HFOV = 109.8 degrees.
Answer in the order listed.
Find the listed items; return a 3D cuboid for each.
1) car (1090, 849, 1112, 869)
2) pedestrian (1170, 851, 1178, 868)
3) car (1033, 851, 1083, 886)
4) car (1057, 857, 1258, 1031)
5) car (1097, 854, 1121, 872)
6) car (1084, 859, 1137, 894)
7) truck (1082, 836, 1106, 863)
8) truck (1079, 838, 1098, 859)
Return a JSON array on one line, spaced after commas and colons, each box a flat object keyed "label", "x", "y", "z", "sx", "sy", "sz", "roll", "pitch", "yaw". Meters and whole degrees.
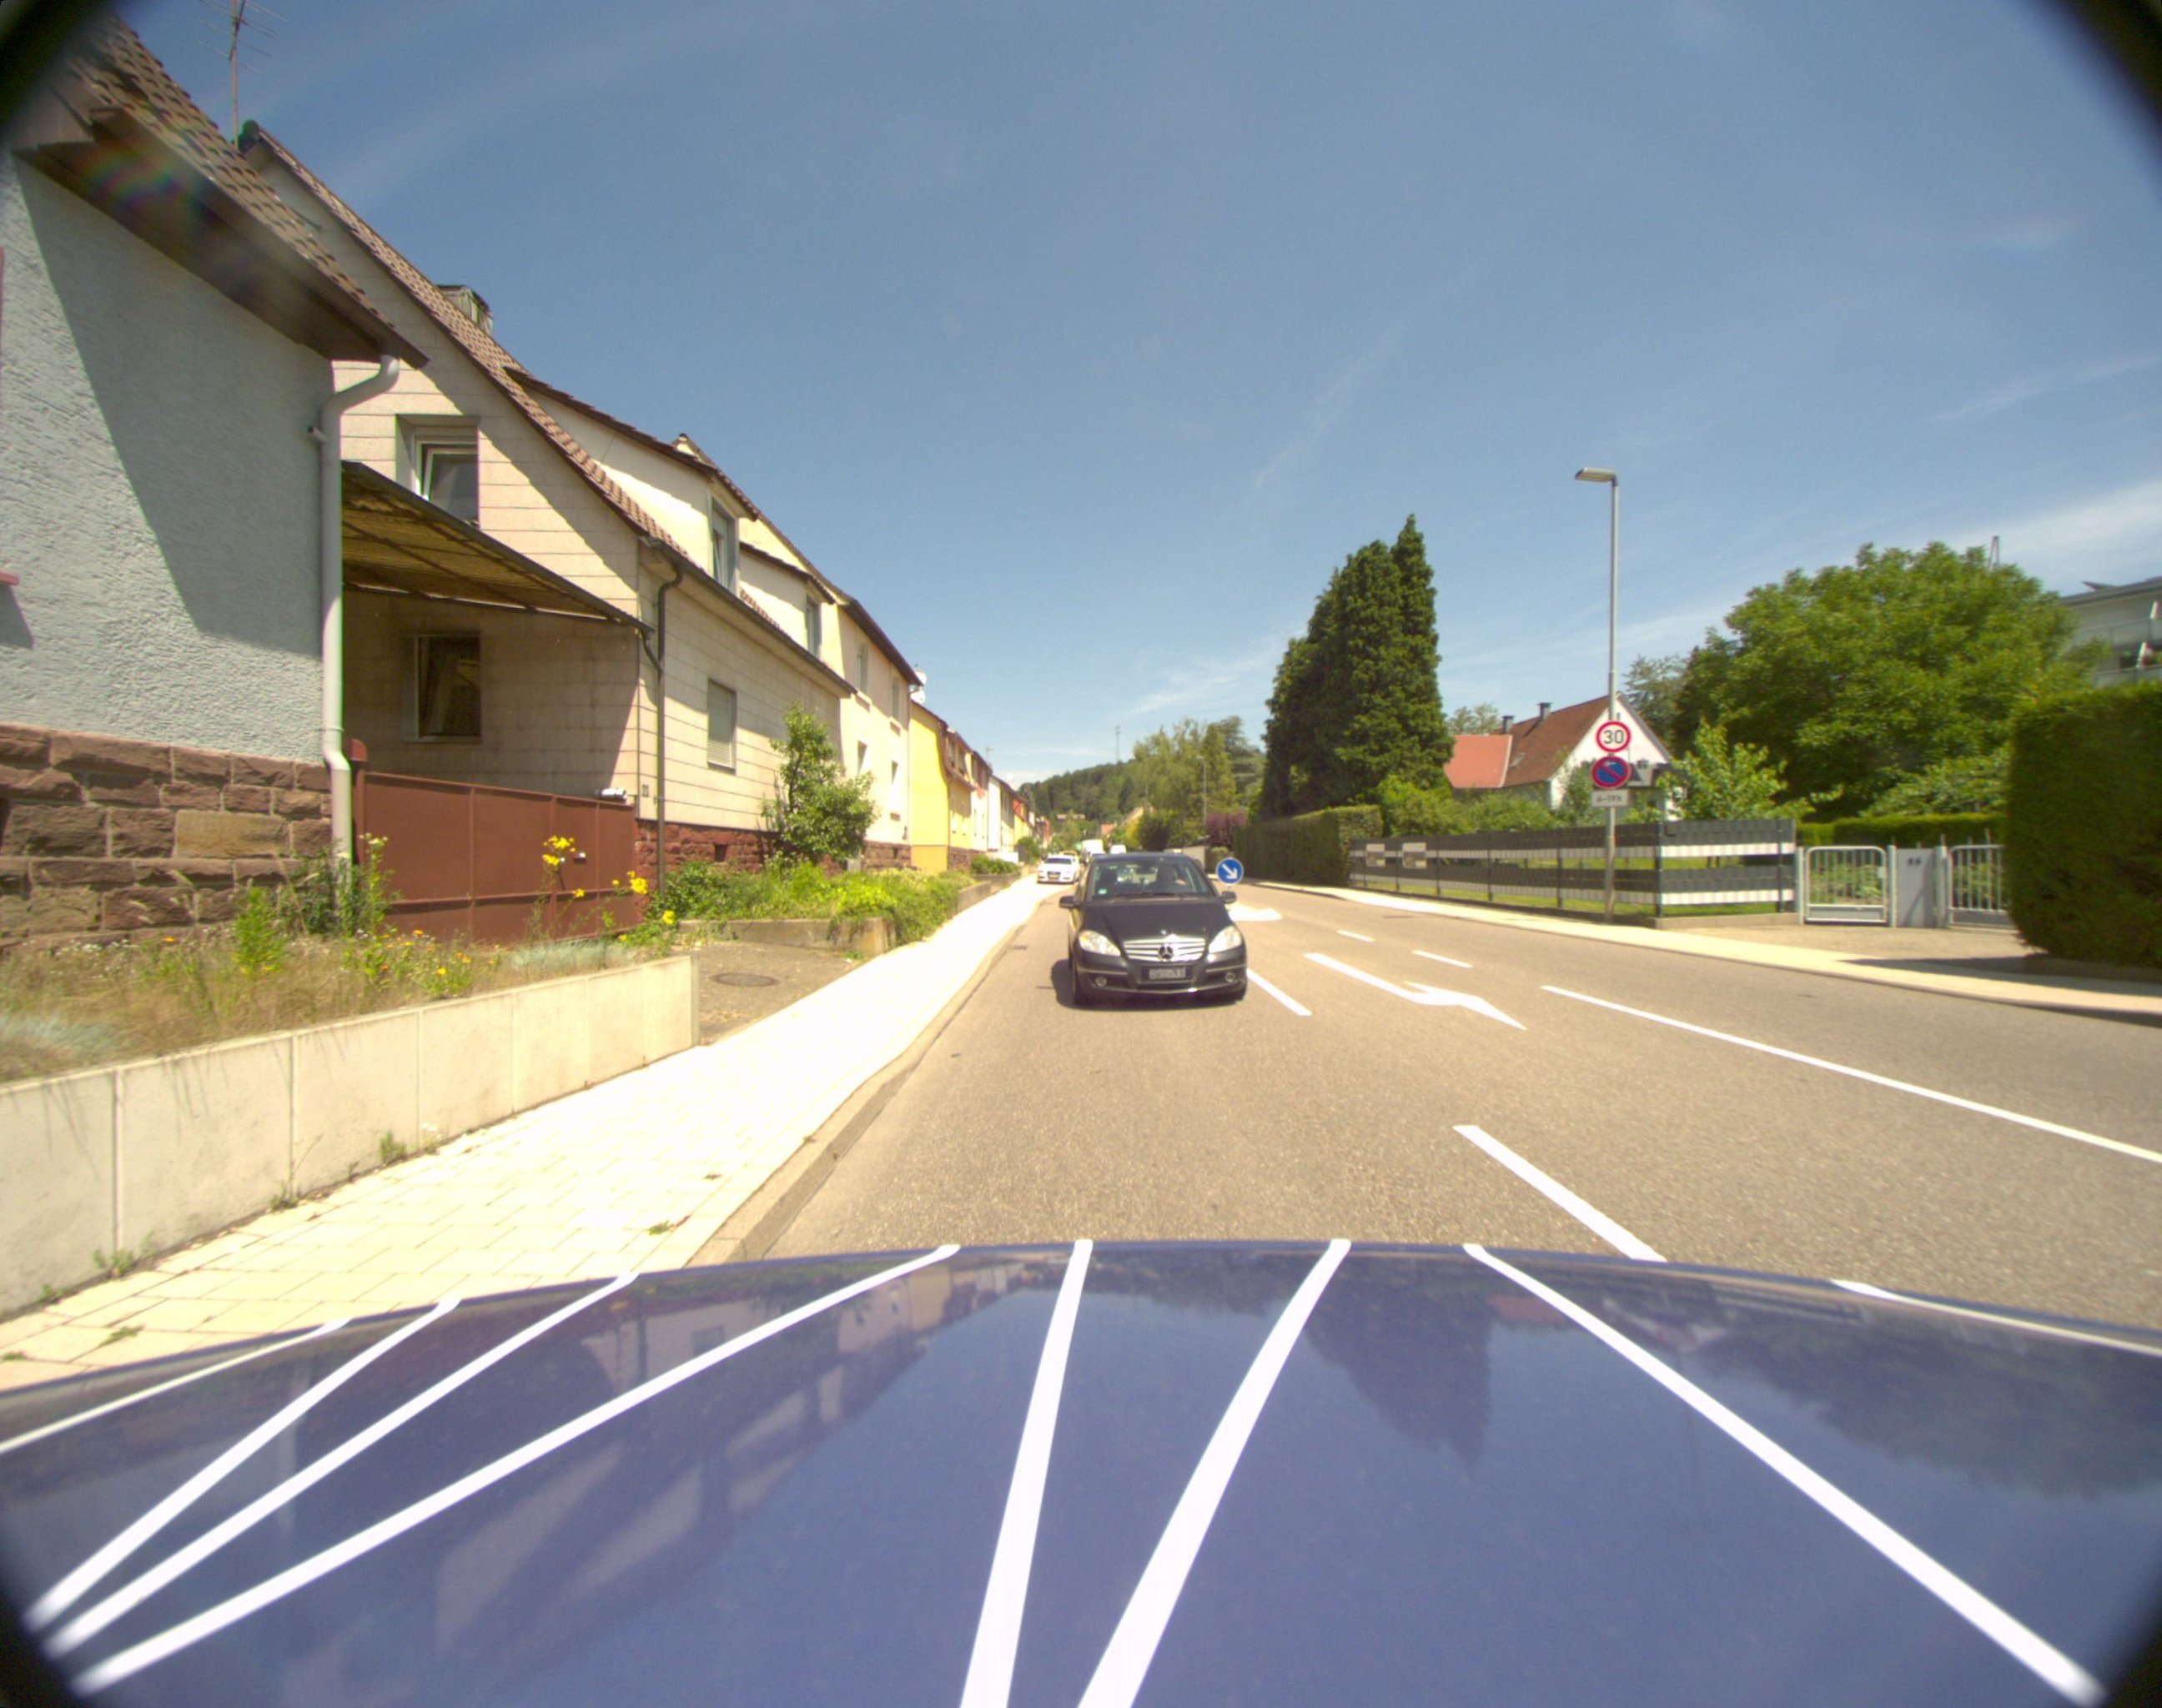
[{"label": "car", "x": 2.103, "y": 0.504, "z": 81.229, "sx": 1.999, "sy": 2.002, "sz": 4.547, "roll": -2, "pitch": 0, "yaw": -2}, {"label": "pedestrian", "x": 8.155, "y": 0.504, "z": 66.753, "sx": 0.555, "sy": 1.477, "sz": 0.483, "roll": -2, "pitch": 1, "yaw": -1}, {"label": "car", "x": -1.112, "y": 0.694, "z": 38.474, "sx": 1.998, "sy": 1.510, "sz": 4.145, "roll": 4, "pitch": 1, "yaw": 4}, {"label": "car", "x": 0.709, "y": 0.858, "z": 9.228, "sx": 1.868, "sy": 1.580, "sz": 4.156, "roll": -1, "pitch": 0, "yaw": 0}, {"label": "car", "x": 2.280, "y": 0.702, "z": 62.247, "sx": 1.864, "sy": 1.441, "sz": 4.000, "roll": -1, "pitch": 0, "yaw": 0}, {"label": "car", "x": 1.203, "y": 0.904, "z": 32.482, "sx": 1.911, "sy": 1.296, "sz": 4.155, "roll": -1, "pitch": 0, "yaw": -3}, {"label": "truck", "x": 1.731, "y": -0.656, "z": 103.185, "sx": 3.149, "sy": 3.467, "sz": 8.271, "roll": -1, "pitch": 0, "yaw": 0}, {"label": "truck", "x": 1.264, "y": -0.920, "z": 128.612, "sx": 3.149, "sy": 3.467, "sz": 8.271, "roll": -1, "pitch": 0, "yaw": 0}]
